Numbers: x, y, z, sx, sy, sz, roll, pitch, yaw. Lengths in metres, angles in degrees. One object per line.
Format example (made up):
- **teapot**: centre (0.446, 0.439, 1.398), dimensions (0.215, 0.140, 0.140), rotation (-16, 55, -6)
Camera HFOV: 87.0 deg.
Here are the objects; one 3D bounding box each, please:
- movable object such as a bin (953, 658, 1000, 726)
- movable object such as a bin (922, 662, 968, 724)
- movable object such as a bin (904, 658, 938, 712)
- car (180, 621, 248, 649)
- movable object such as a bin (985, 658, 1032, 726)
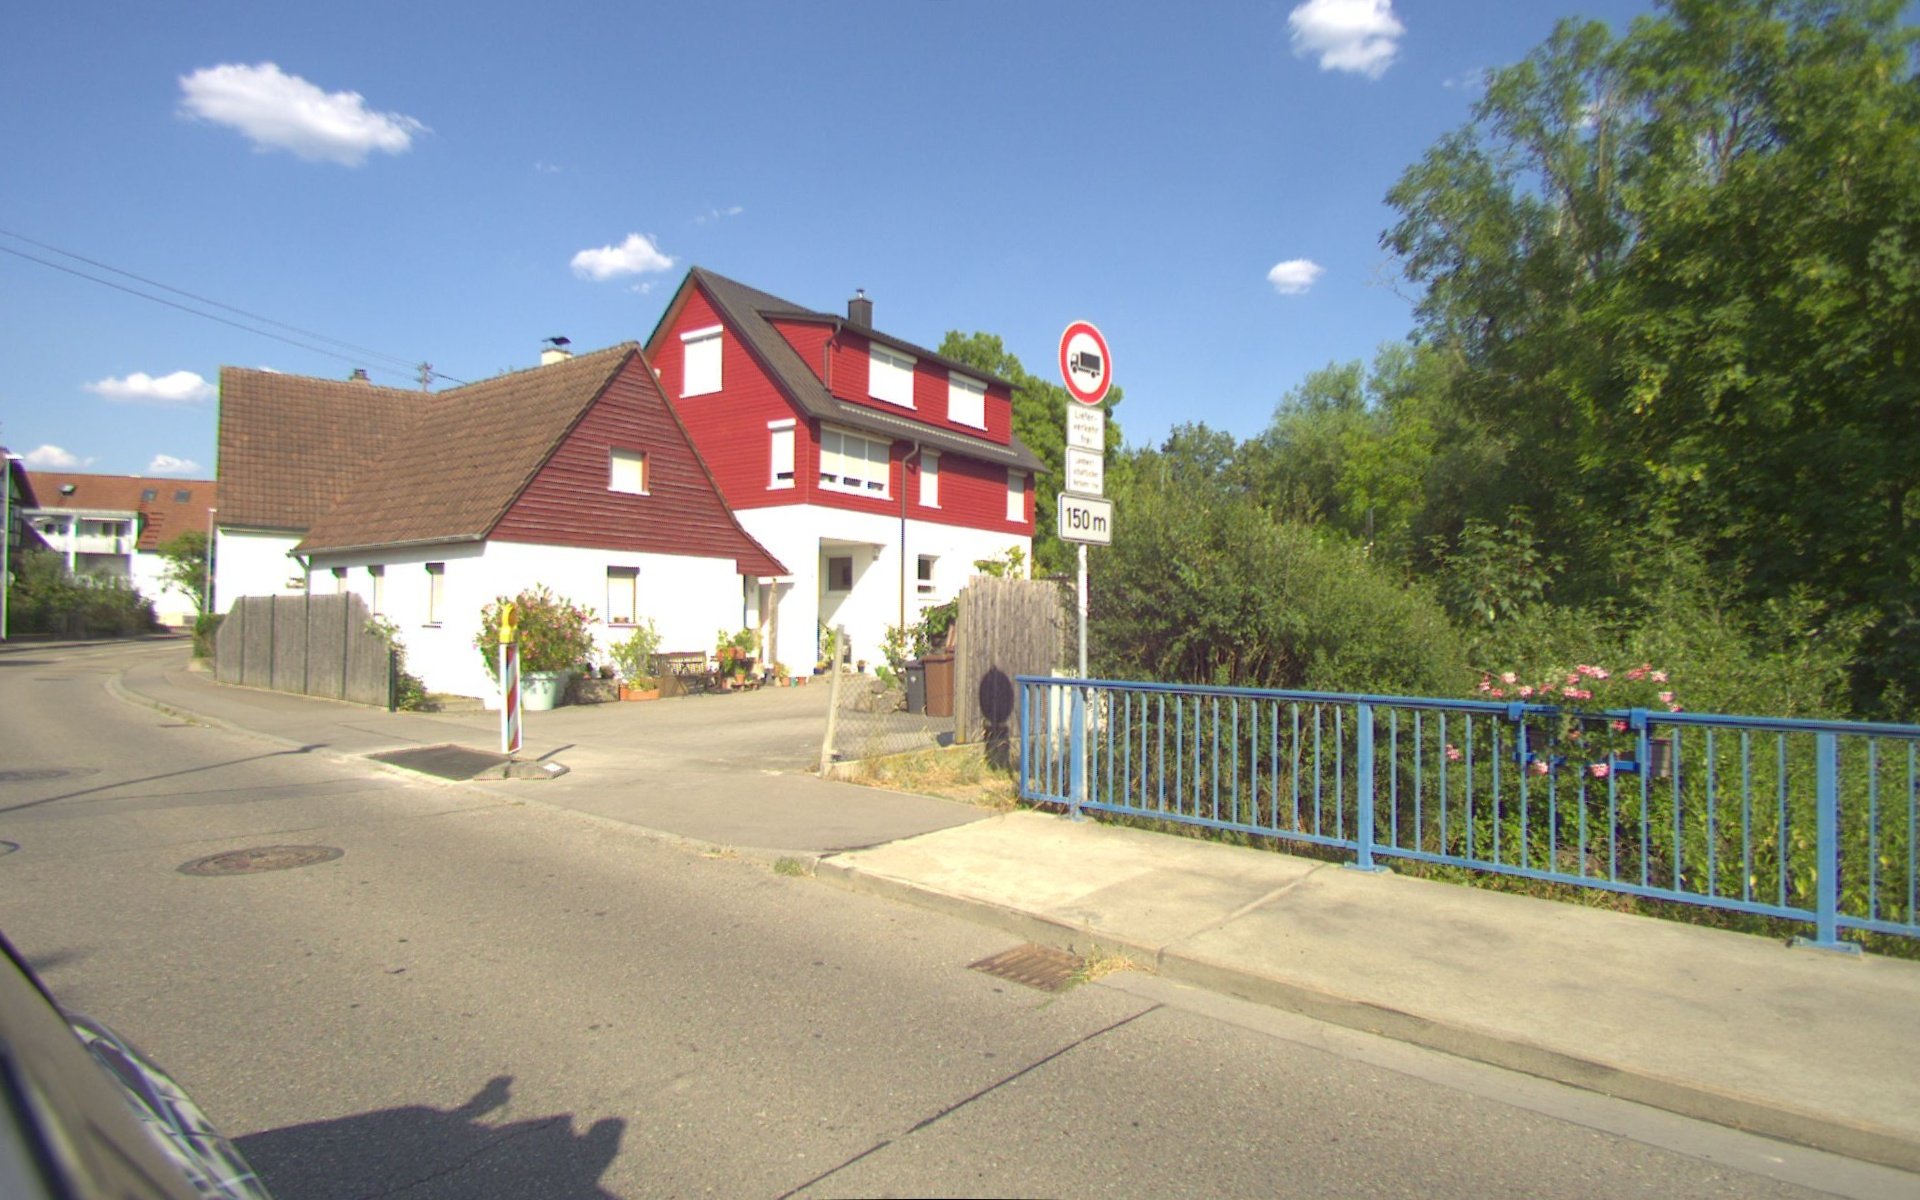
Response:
- **movable object such as a bin**: centre (0.272, 1.484, 16.447), dimensions (0.549, 1.058, 0.542), rotation (-2, -3, 36)
- **movable object such as a bin**: centre (-0.248, 1.527, 16.745), dimensions (0.549, 0.997, 0.542), rotation (-2, -3, 36)
- **movable object such as a bin**: centre (-0.657, 1.425, 17.061), dimensions (0.370, 0.889, 0.459), rotation (-2, -3, 36)
- **car**: centre (-48.354, 2.261, 65.695), dimensions (1.942, 1.669, 4.009), rotation (3, -2, -11)
- **movable object such as a bin**: centre (0.779, 1.455, 16.185), dimensions (0.549, 1.058, 0.542), rotation (-2, -3, 36)
